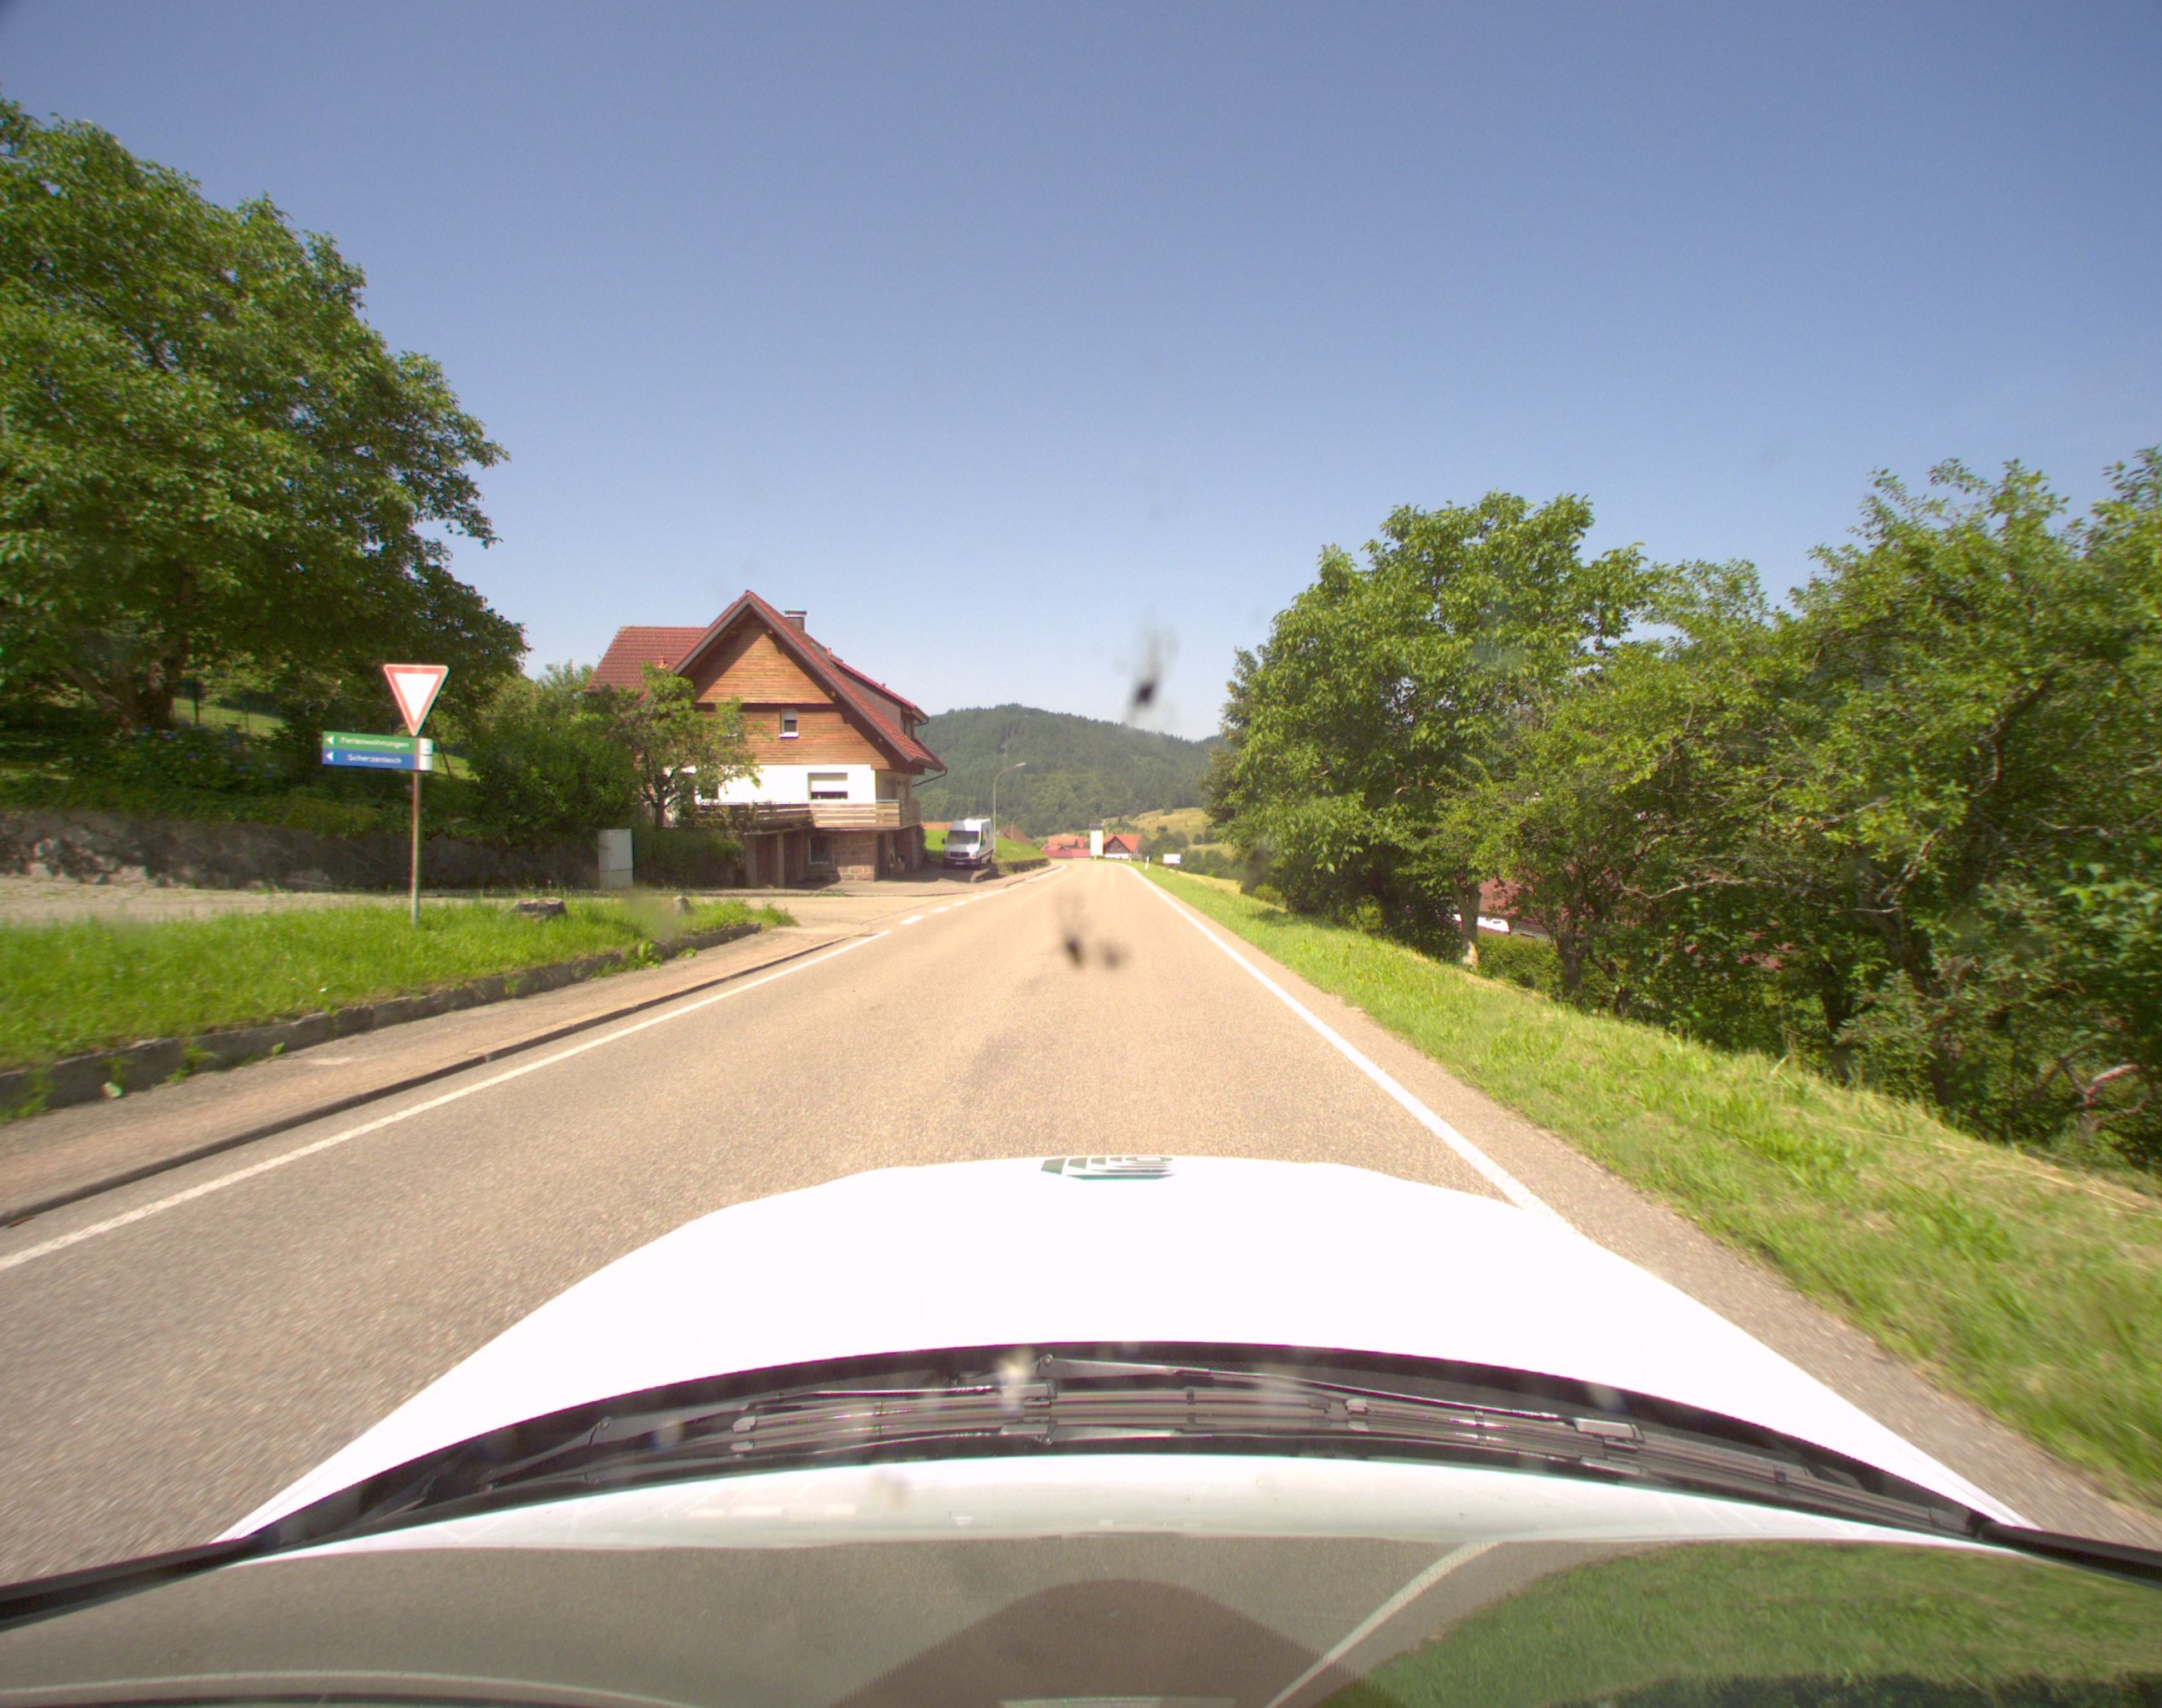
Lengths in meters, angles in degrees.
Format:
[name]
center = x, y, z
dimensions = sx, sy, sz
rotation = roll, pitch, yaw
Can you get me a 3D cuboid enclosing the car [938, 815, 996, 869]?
[car]
center = -6.237, -0.773, 45.586
dimensions = 2.060, 2.687, 7.178
rotation = 0, 3, 1
